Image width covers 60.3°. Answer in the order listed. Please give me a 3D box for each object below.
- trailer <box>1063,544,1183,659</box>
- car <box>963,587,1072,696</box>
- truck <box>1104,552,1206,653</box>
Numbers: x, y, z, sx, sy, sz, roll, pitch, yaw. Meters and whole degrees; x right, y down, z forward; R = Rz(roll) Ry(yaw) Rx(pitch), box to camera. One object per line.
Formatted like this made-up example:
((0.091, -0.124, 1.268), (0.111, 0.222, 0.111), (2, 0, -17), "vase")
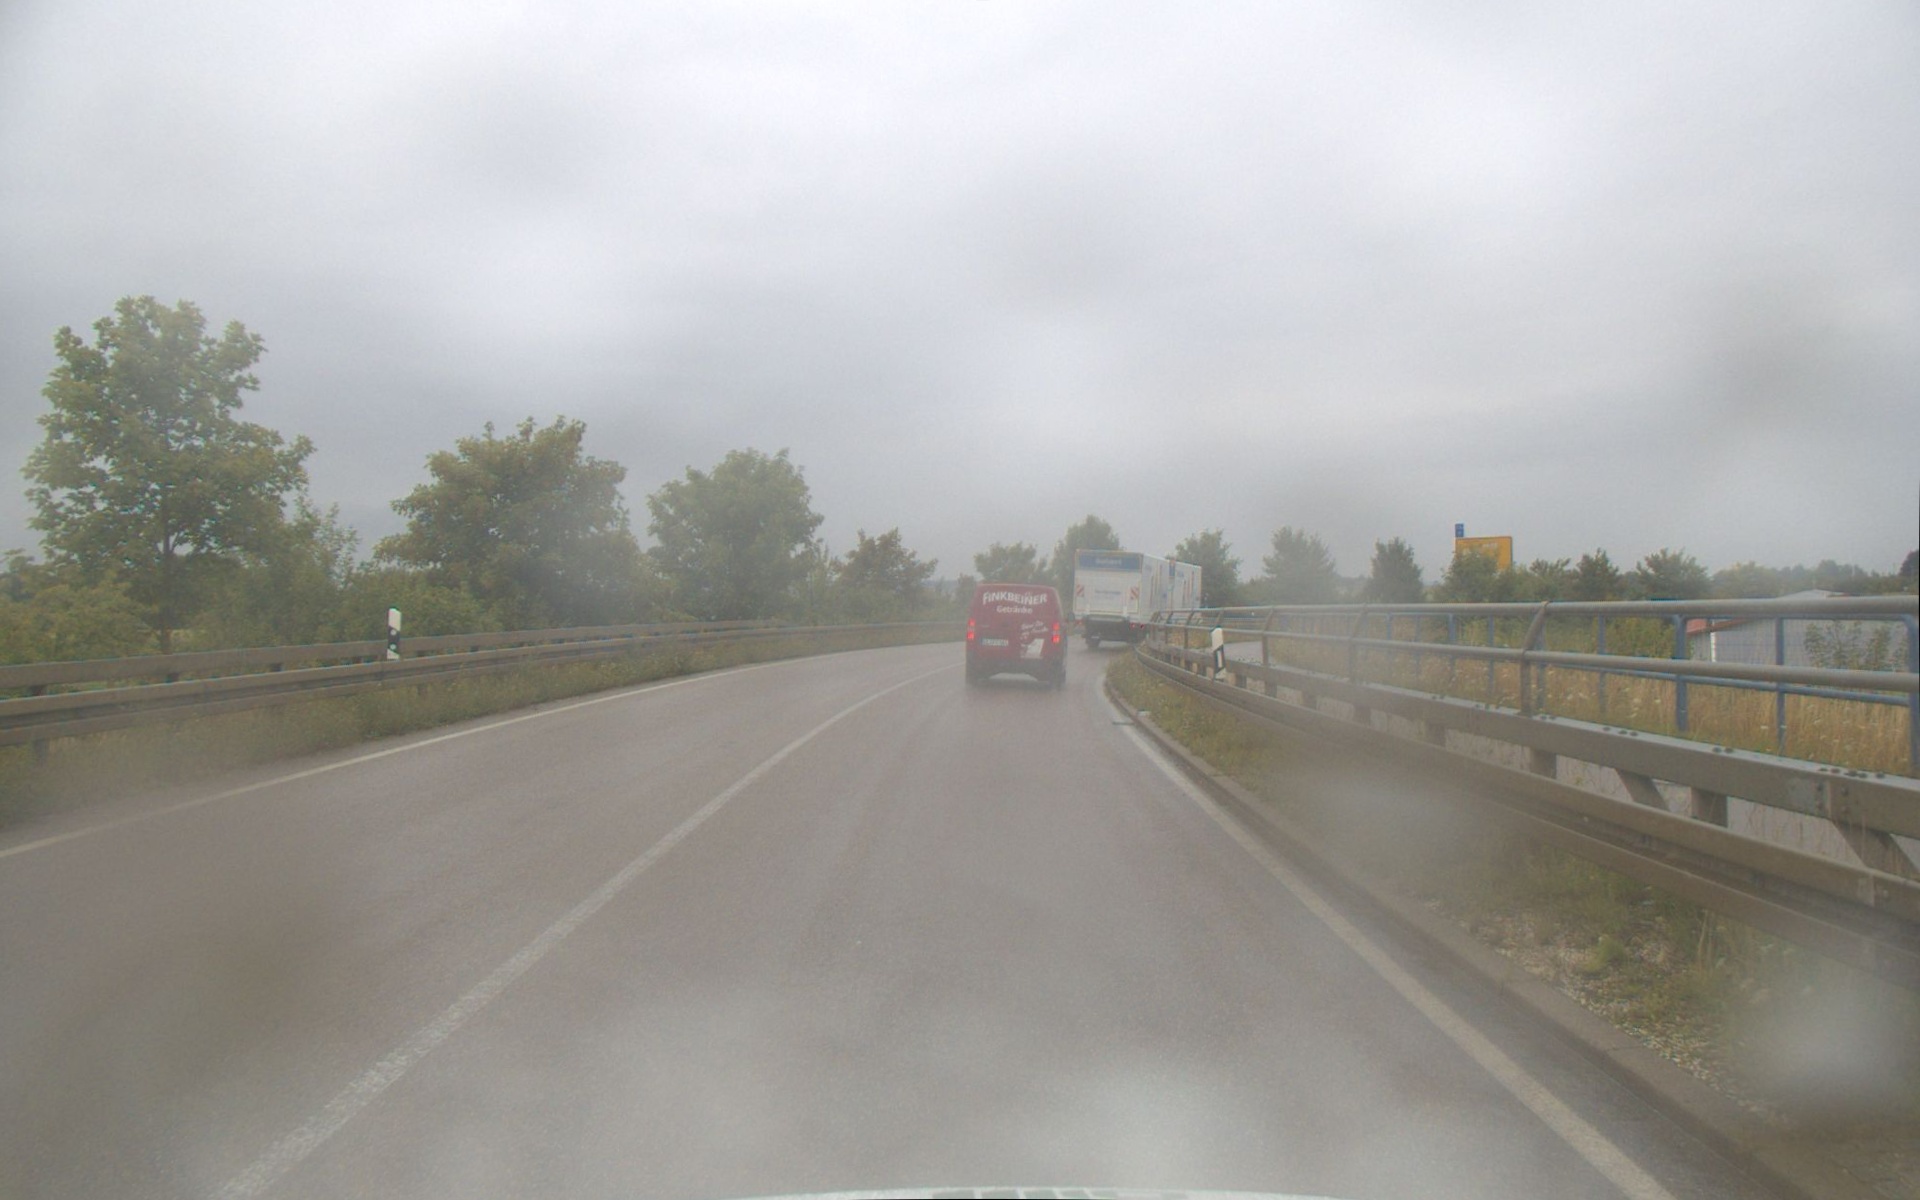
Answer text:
((6.417, 0.100, 63.819), (3.134, 3.990, 8.745), (2, 0, 15), "trailer")
((1.141, 0.756, 32.362), (1.952, 1.959, 4.144), (1, 0, 2), "car")
((8.641, 0.152, 72.283), (3.134, 3.990, 8.745), (2, 0, 15), "truck")
